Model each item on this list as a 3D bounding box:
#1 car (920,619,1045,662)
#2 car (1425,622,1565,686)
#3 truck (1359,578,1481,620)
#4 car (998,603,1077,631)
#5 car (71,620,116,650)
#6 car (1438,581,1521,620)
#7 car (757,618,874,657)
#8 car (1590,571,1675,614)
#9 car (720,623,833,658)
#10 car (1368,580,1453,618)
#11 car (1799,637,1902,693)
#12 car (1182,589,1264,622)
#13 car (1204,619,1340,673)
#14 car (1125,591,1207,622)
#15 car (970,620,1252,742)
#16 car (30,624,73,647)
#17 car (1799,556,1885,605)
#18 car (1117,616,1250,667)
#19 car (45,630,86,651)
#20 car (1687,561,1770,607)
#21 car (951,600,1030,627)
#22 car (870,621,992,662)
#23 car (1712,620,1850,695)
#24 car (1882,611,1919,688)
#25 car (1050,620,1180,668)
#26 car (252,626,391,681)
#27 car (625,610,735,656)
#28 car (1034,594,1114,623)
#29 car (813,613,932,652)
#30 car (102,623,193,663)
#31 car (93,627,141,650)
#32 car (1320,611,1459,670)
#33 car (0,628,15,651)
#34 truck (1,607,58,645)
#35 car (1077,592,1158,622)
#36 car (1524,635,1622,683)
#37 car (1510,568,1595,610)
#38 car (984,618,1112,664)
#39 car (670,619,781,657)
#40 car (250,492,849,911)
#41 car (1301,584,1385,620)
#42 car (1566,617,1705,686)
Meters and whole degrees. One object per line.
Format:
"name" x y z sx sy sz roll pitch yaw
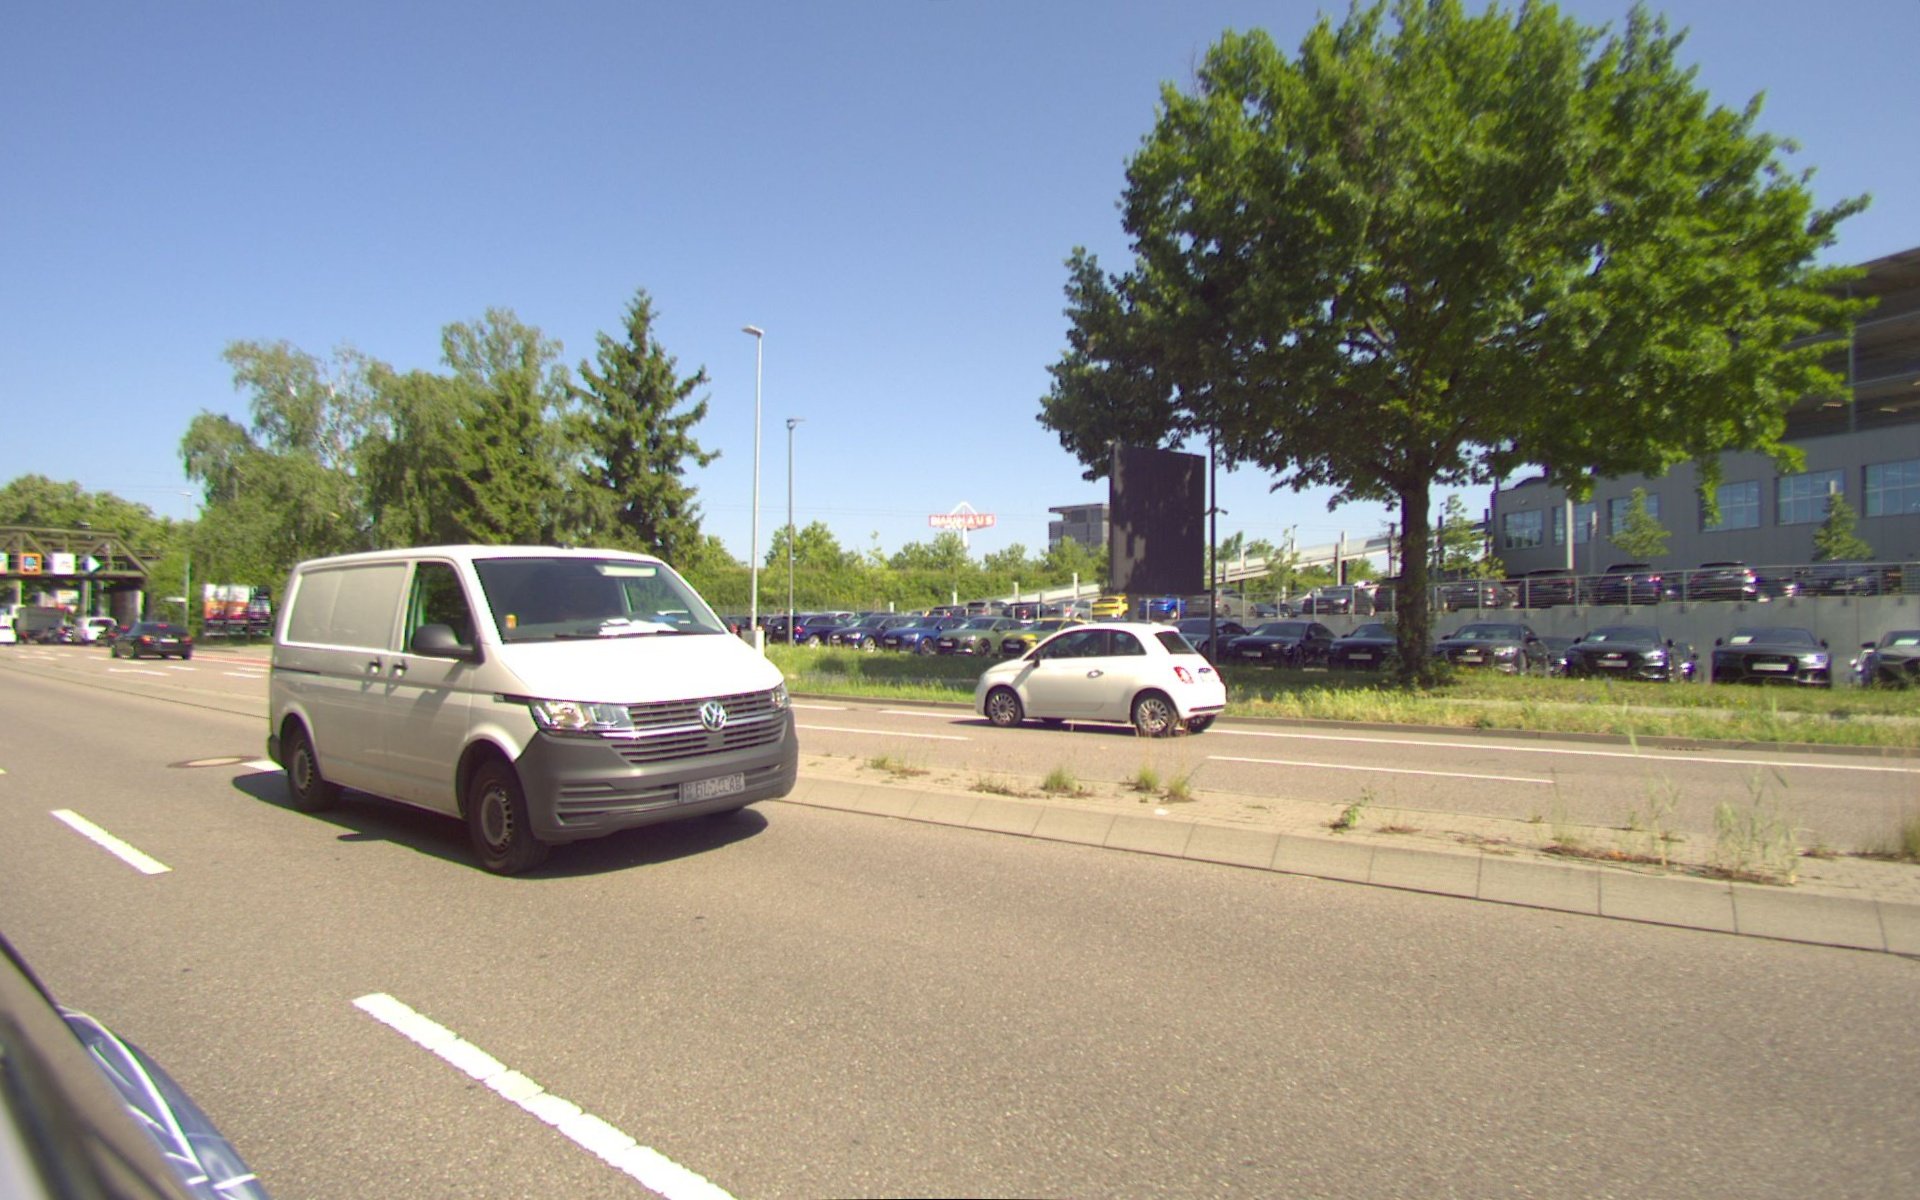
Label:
"car" 0.808 1.344 34.154 1.953 1.361 4.220 -2 -2 42
"car" 12.740 1.223 23.994 1.953 1.361 4.220 -2 -2 42
"truck" 34.013 -0.011 74.908 8.320 2.939 2.673 0 -2 -14
"car" 4.005 0.892 51.864 1.953 1.361 4.222 -1 -2 41
"car" -61.353 2.483 71.600 5.349 2.029 1.971 -2 -3 45
"car" 20.202 0.061 39.286 1.953 1.361 4.222 -1 -2 41
"car" -5.480 1.413 38.748 1.953 1.392 4.220 -2 -2 42
"car" 23.617 -0.224 35.492 1.953 1.361 4.222 -1 -2 41
"car" -7.396 1.633 41.145 1.953 1.338 4.220 -2 -2 42
"car" 18.013 0.002 40.375 1.953 1.361 4.222 -1 -2 41
"car" 24.142 1.702 27.530 1.953 1.361 4.222 -1 -2 41
"car" 11.887 0.278 45.590 1.953 1.361 4.222 -1 -2 41
"car" 8.609 1.221 27.743 1.953 1.361 4.220 -2 -2 42
"car" 9.682 0.356 47.435 1.953 1.361 4.222 -1 -2 41
"car" 2.041 1.054 14.063 3.545 1.475 1.638 -1 -4 38
"car" -72.660 2.848 80.949 4.284 1.703 1.963 -3 -5 41
"car" 28.150 -0.569 32.353 1.953 1.361 4.222 -1 -2 41
"car" 6.515 1.173 29.233 1.953 1.361 4.220 -2 -2 42
"car" -67.638 3.108 76.489 4.174 1.506 1.750 -3 -5 41
"car" 25.992 -0.481 34.166 1.953 1.361 4.222 -1 -2 41
"car" 1.661 0.760 53.660 1.953 1.361 4.222 -1 -2 41
"car" -0.983 1.438 35.787 1.953 1.361 4.220 -2 -2 42
"car" 16.765 1.101 20.588 1.953 1.361 4.220 -2 -2 42
"car" 18.717 0.909 19.052 1.953 1.361 4.220 -2 -2 42
"car" 4.810 1.318 30.983 1.953 1.361 4.220 -2 -2 42
"car" -17.754 1.468 28.090 3.990 1.425 1.768 -1 -4 34
"car" -12.099 1.405 43.935 1.953 1.899 4.220 -2 -2 42
"car" 5.709 0.473 50.405 1.953 1.361 4.222 -1 -2 41
"car" -3.189 1.199 37.486 1.953 1.361 4.220 -2 -2 42
"car" -31.795 1.675 39.559 4.996 1.474 1.822 -1 -4 41
"car" -54.647 2.457 65.563 1.971 1.424 4.684 2 -2 -45
"car" 10.928 0.997 25.600 1.953 1.361 4.220 -2 -2 42
"car" -65.195 2.686 68.222 3.825 1.506 1.626 -3 -5 39
"truck" -78.651 2.186 85.485 7.058 3.112 2.319 -2 -2 37
"car" 7.681 0.387 49.088 1.953 1.361 4.222 -1 -2 41
"car" 19.179 1.783 31.579 1.953 1.361 4.222 -1 -2 41
"car" 21.714 -0.362 37.009 1.953 1.361 4.222 -1 -2 41
"car" 2.892 1.282 32.550 1.953 1.361 4.220 -2 -2 42
"car" -9.859 1.596 42.750 1.953 1.515 4.220 -2 -2 42
"car" -3.176 0.558 7.200 4.971 2.009 1.862 -2 -2 40
"car" 15.957 0.116 42.063 1.953 1.361 4.222 -1 -2 41
"car" 14.949 1.082 22.298 1.953 1.361 4.220 -2 -2 42
